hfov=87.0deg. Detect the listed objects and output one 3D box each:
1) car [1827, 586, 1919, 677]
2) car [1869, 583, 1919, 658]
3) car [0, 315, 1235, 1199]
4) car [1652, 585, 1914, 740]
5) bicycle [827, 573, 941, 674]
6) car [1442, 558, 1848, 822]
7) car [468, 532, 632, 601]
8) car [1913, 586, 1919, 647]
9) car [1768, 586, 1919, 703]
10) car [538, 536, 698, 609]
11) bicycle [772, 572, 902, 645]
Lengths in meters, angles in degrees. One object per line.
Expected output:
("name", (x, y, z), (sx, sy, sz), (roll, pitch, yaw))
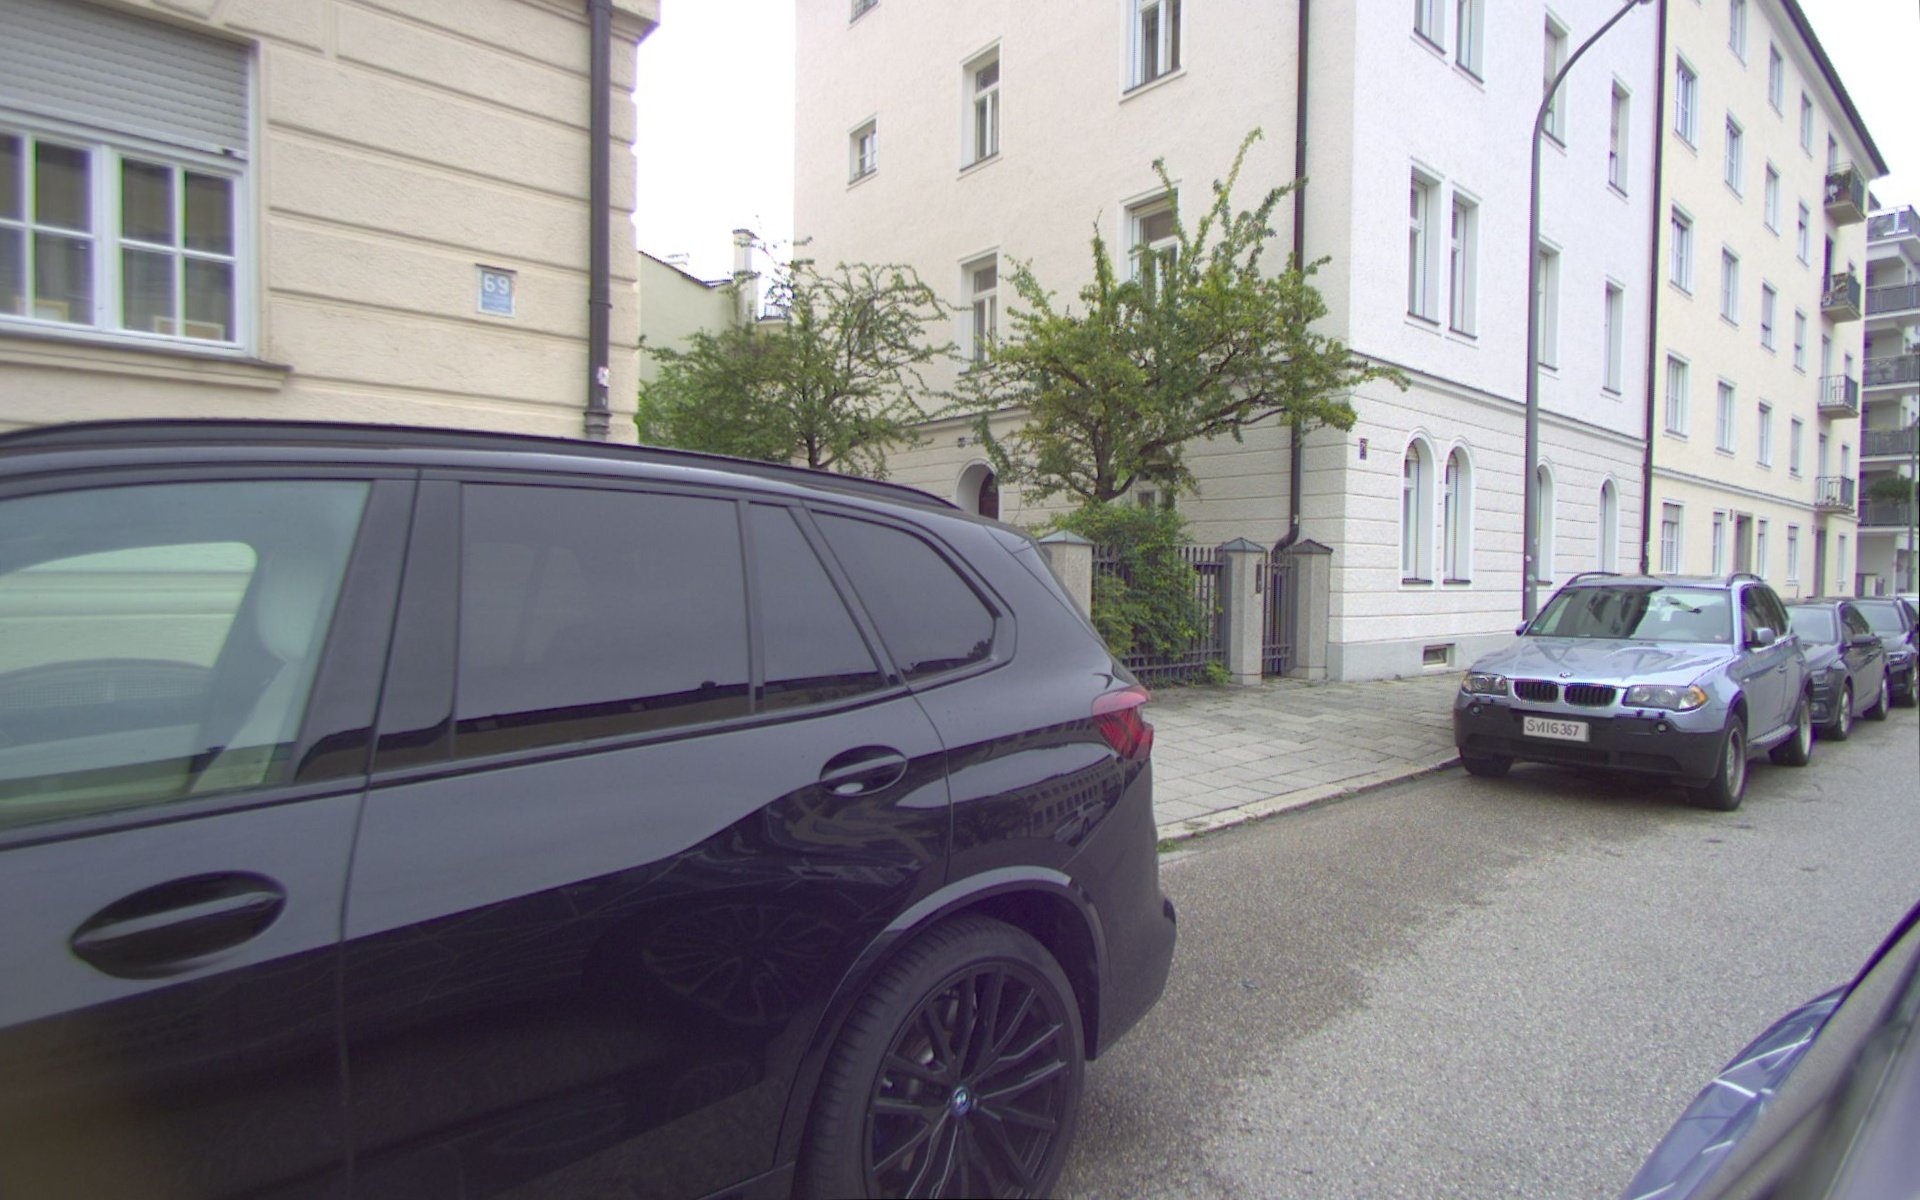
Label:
("car", (17.060, 0.503, 18.212), (4.096, 1.445, 1.682), (-1, 2, -42))
("car", (21.018, 0.406, 21.817), (4.096, 1.500, 1.682), (-1, 2, -42))
("car", (-1.686, 0.539, 1.869), (4.780, 1.738, 1.872), (-1, 1, -40))
("car", (9.624, 0.578, 11.727), (4.016, 1.445, 1.682), (-1, 2, -41))
("bicycle", (-0.998, 0.250, 12.791), (0.570, 1.107, 1.880), (-1, 4, -34))
("car", (5.868, 0.511, 8.440), (4.380, 1.654, 1.725), (-1, 2, -41))
("car", (-10.293, -0.875, 25.785), (1.904, 1.567, 4.231), (2, 3, 11))
("car", (24.677, 0.386, 24.675), (4.366, 1.427, 1.682), (-1, 2, -41))
("car", (13.430, 0.545, 14.919), (4.316, 1.445, 1.682), (-1, 2, -42))
("car", (-7.975, -0.687, 24.033), (1.754, 1.533, 4.231), (2, 3, 11))
("bicycle", (-1.849, 0.098, 15.371), (1.916, 1.027, 0.581), (-2, 1, -35))
